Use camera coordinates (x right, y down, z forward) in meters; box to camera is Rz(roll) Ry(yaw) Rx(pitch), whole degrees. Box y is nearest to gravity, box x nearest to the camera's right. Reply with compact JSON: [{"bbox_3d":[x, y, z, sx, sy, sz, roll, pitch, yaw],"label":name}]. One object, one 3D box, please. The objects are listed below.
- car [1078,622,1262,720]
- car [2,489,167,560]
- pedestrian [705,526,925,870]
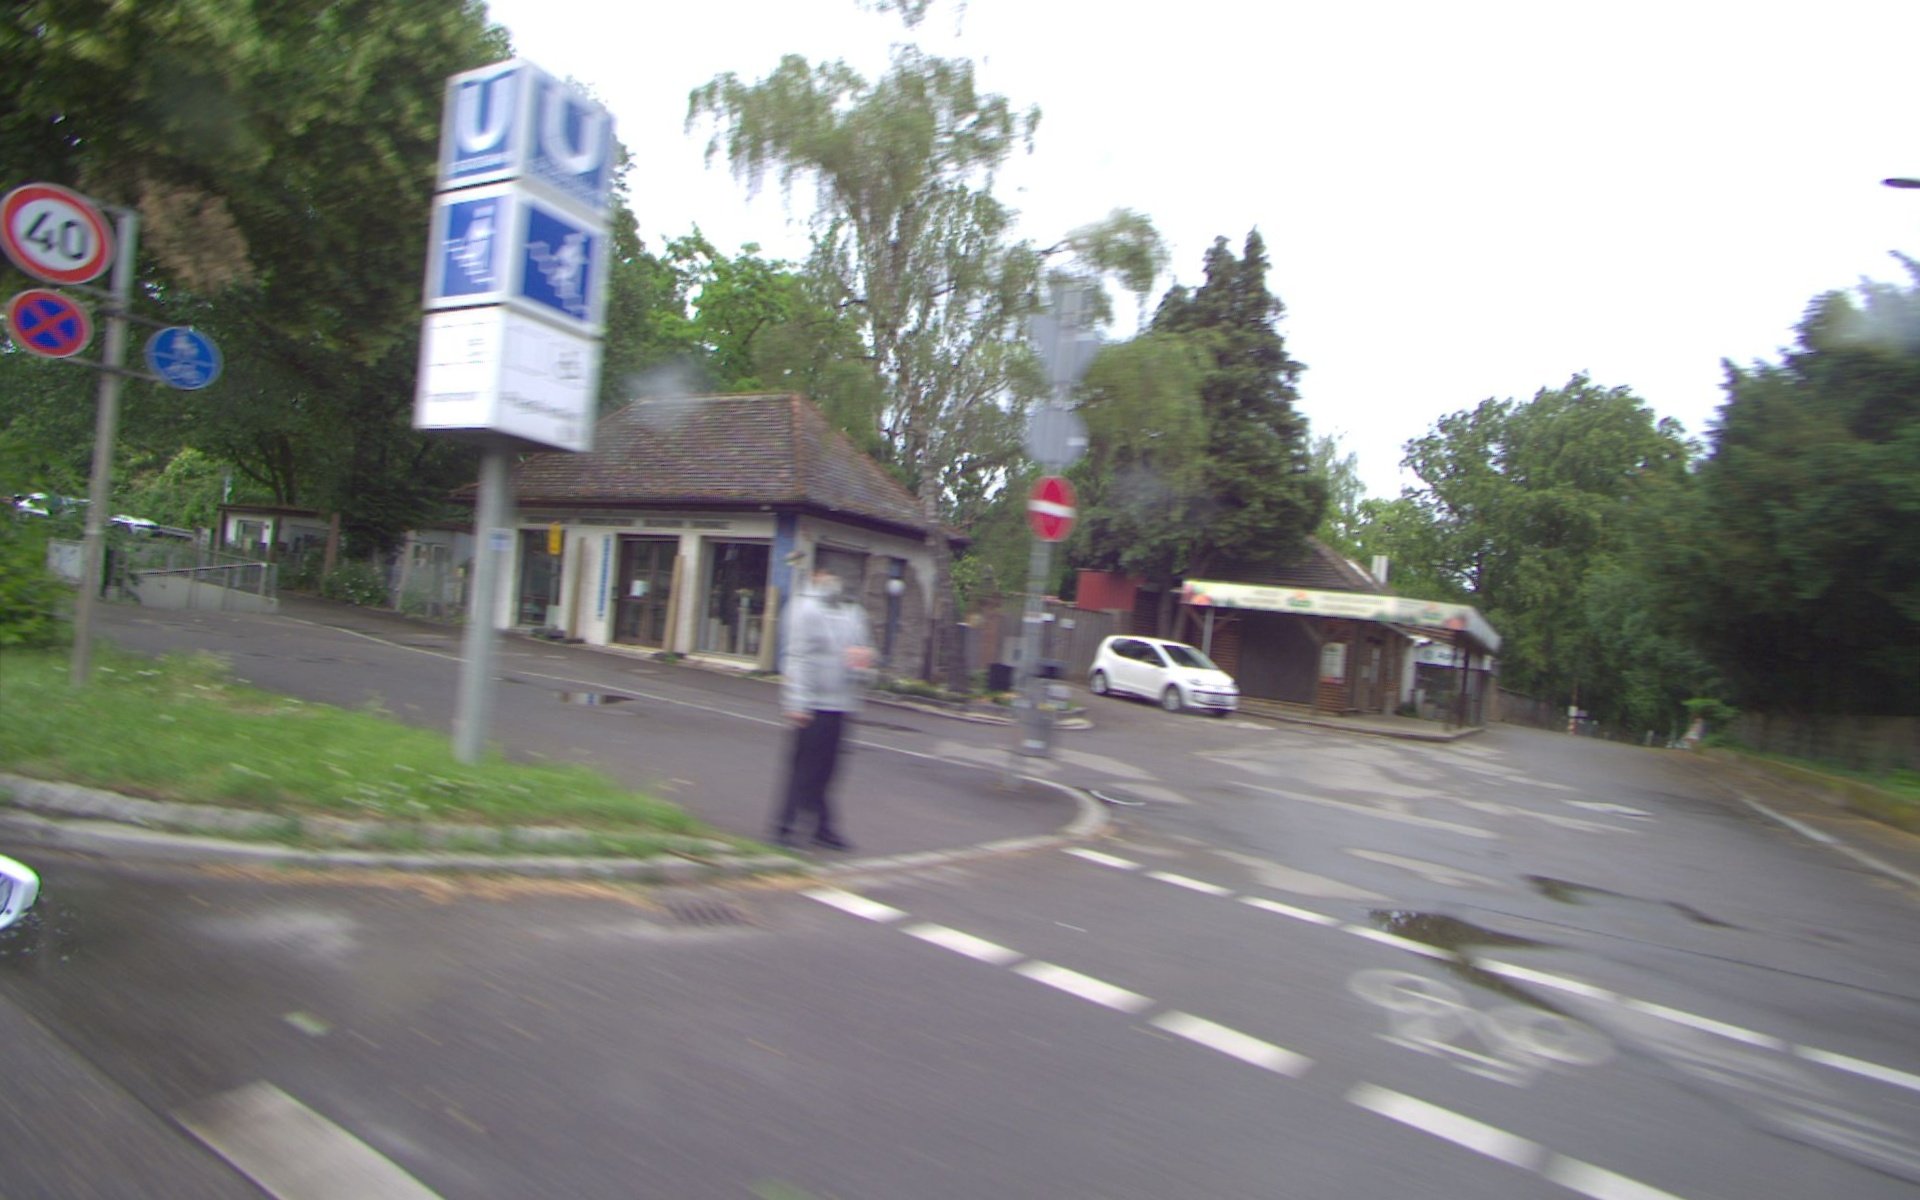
[{"bbox_3d":[4.606,1.533,22.541,1.814,1.598,3.729,7,1,-32],"label":"car"},{"bbox_3d":[-35.169,-2.983,40.537,4.398,1.854,1.944,10,-3,-11],"label":"car"},{"bbox_3d":[-0.870,0.567,6.143,0.725,1.876,0.856,8,0,33],"label":"pedestrian"}]
